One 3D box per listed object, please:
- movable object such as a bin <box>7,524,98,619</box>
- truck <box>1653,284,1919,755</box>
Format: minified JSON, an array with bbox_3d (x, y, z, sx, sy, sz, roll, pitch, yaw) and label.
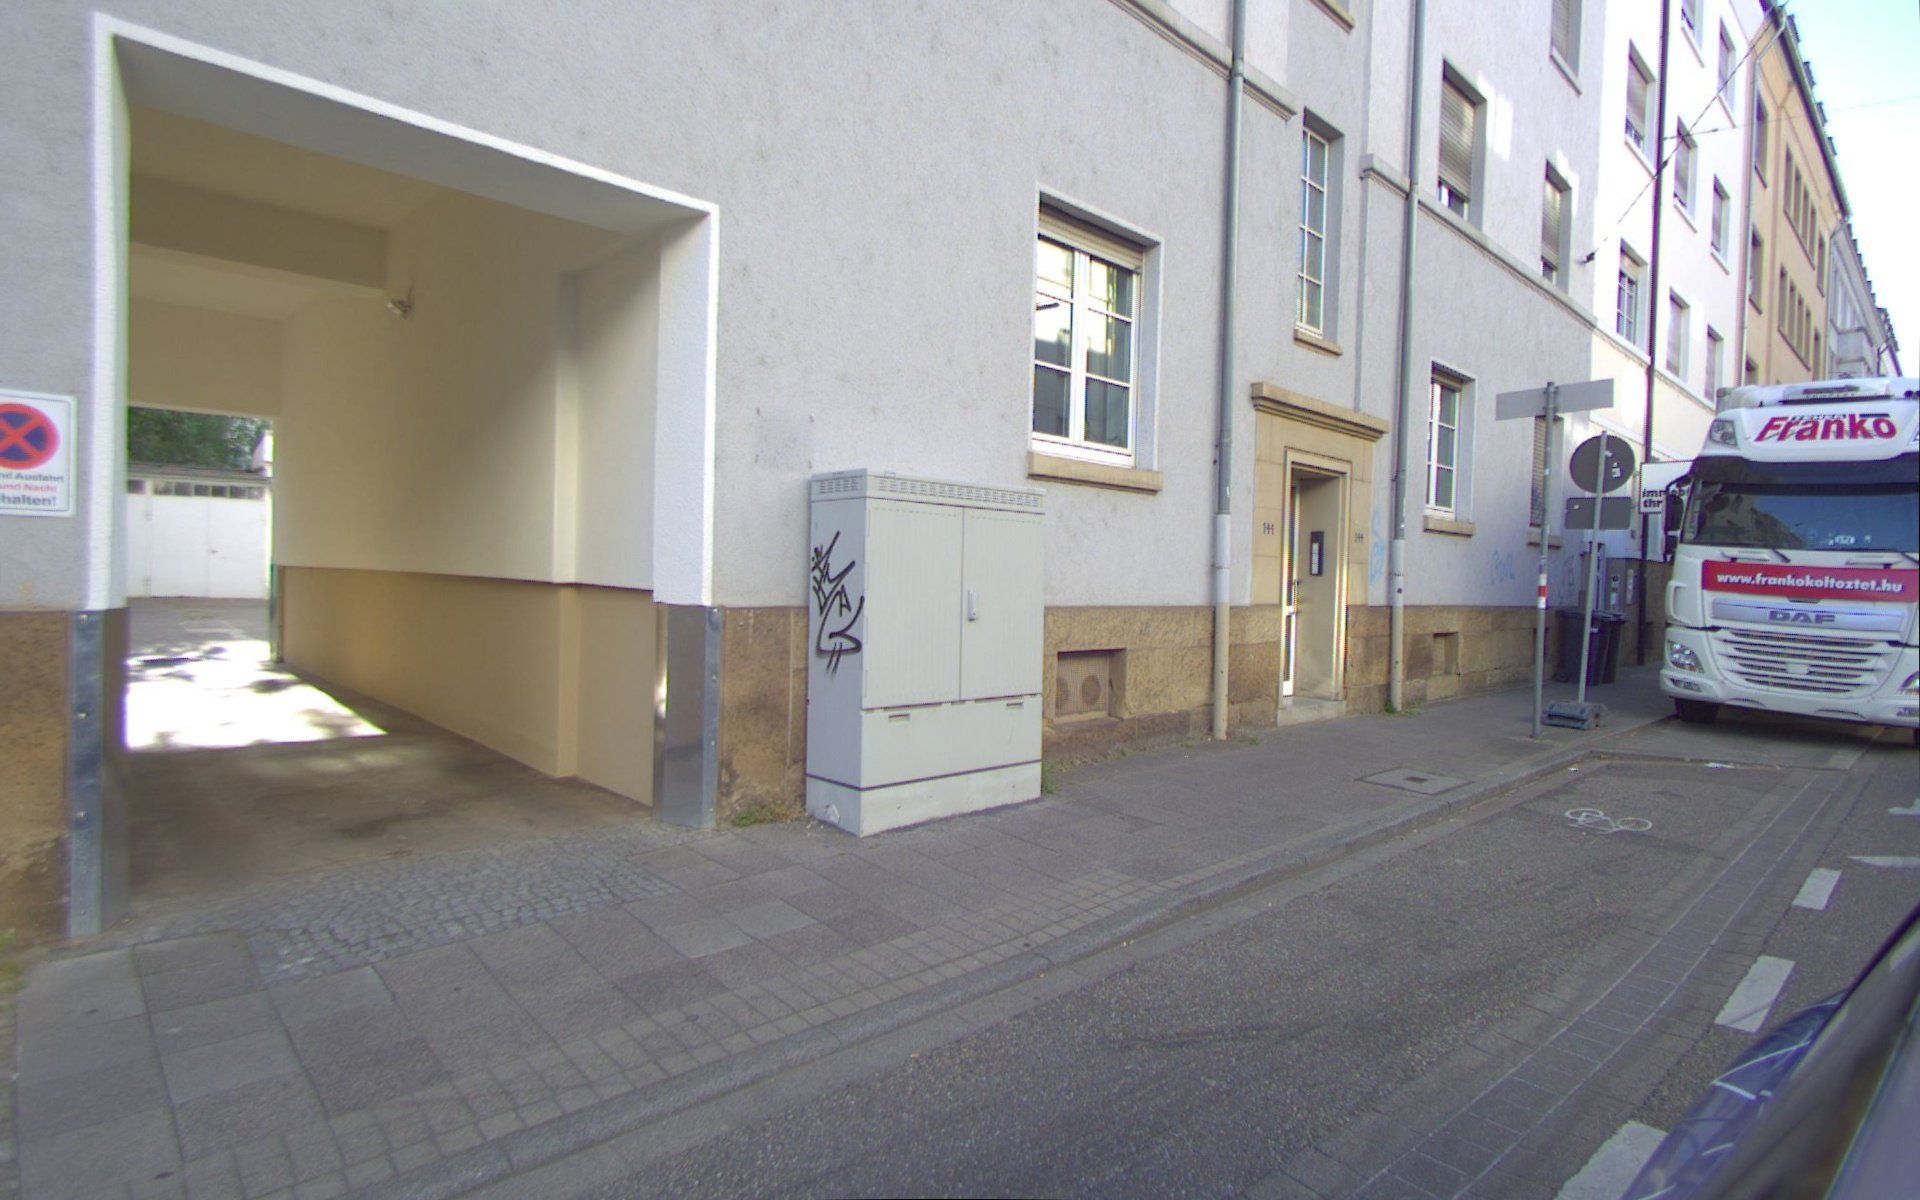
[{"bbox_3d":[-15.097,-0.459,16.872,1.091,1.512,1.328,0,0,-41],"label":"movable object such as a bin"},{"bbox_3d":[12.548,-0.858,13.667,11.579,4.290,2.697,-1,3,-43],"label":"truck"}]
